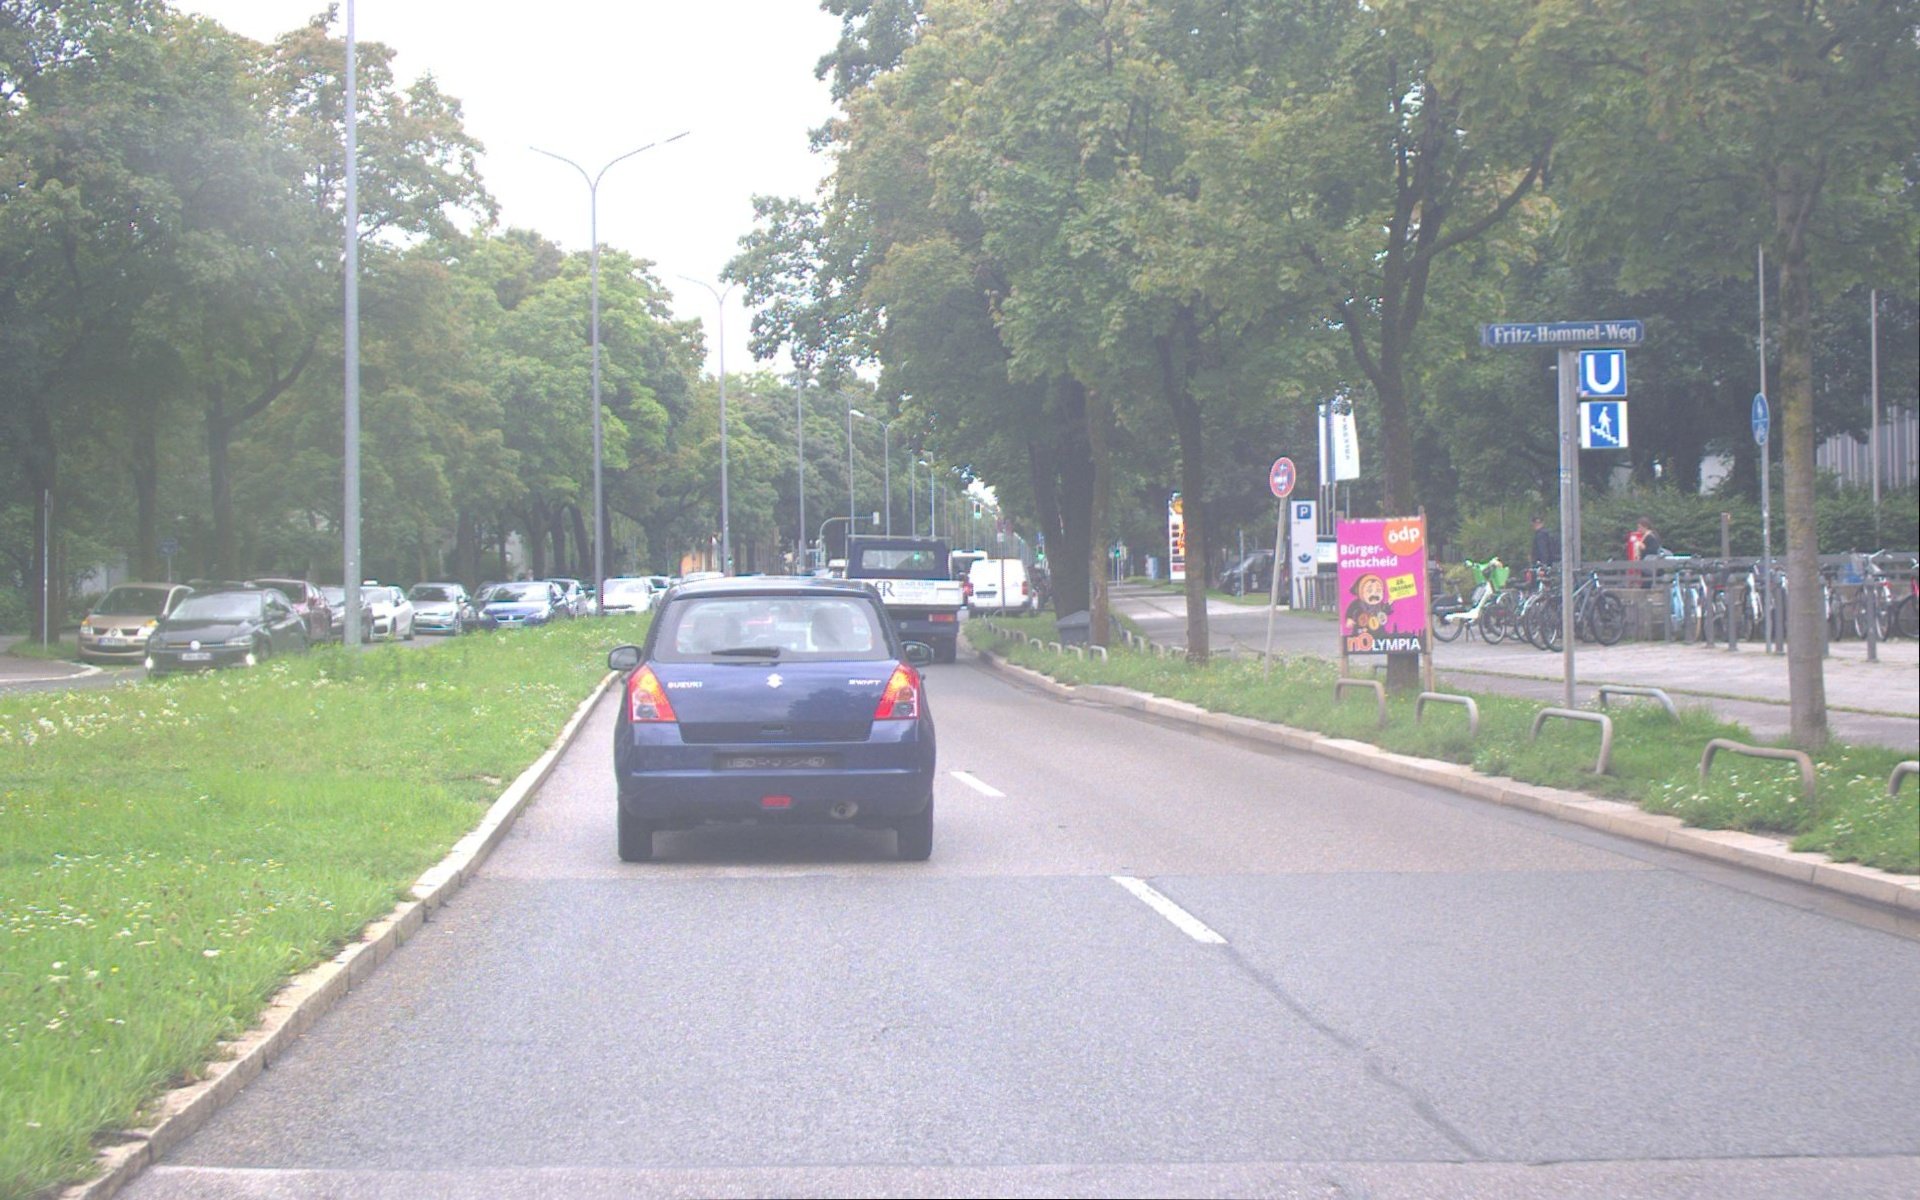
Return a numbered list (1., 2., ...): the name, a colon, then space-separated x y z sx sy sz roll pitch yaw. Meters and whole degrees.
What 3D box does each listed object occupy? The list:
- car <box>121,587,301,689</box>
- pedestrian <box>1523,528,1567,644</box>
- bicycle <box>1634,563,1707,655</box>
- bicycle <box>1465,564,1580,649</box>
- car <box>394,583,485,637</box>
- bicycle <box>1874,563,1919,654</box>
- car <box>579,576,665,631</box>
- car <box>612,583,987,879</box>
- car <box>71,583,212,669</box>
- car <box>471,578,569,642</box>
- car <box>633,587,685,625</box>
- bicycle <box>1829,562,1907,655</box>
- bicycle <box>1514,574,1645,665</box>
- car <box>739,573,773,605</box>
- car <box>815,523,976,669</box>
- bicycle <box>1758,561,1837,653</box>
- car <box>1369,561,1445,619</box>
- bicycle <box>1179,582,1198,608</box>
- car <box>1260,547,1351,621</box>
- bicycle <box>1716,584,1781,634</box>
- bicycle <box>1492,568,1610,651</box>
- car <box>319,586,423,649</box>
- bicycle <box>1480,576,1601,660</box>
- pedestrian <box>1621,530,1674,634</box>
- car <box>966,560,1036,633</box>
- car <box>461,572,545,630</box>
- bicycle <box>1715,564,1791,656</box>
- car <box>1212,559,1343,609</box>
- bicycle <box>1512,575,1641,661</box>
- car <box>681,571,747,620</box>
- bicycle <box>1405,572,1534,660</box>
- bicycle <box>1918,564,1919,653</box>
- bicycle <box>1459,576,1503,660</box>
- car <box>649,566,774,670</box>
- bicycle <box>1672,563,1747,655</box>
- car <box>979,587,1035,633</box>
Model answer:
1. car: -11.097 0.538 51.184 1.782 1.401 4.102 -1 0 0
2. pedestrian: 9.690 -0.240 56.937 0.651 1.893 0.749 -1 0 7
3. bicycle: 9.392 0.114 45.501 0.487 1.185 1.954 -1 0 -2
4. bicycle: 8.423 0.093 51.448 1.949 1.104 0.580 -6 4 -43
5. car: -14.897 0.271 98.537 1.736 1.443 4.822 2 0 1
6. bicycle: 12.653 0.107 45.077 0.445 1.185 2.142 -1 0 -9
7. car: -9.647 0.079 98.349 1.915 1.479 4.865 -1 0 1
8. car: -0.853 0.655 19.228 1.896 1.494 3.660 0 0 -1
9. car: -15.901 0.477 66.963 1.647 1.608 3.818 0 0 3
10. car: -10.136 0.208 79.360 1.691 1.397 3.967 -1 0 1
11. car: -13.085 0.247 149.578 1.757 1.589 4.489 1 0 1
12. bicycle: 11.960 0.102 45.328 0.445 1.185 1.954 -1 0 -2
13. bicycle: 8.369 0.255 46.381 2.027 1.095 0.580 -4 0 -44
14. car: -11.662 -0.626 196.357 1.796 1.757 5.058 -1 0 -2
15. car: -1.065 -0.080 60.197 2.419 2.436 5.086 0 0 3
16. bicycle: 11.099 0.088 45.600 0.487 1.185 1.954 -1 0 -2
17. car: 14.620 -0.344 112.653 1.842 1.812 4.472 -1 0 0
18. bicycle: 10.533 -0.232 158.625 0.748 1.179 2.246 -1 0 2
19. car: 11.231 -0.517 112.190 2.264 2.299 6.268 -1 0 0
20. bicycle: 14.565 0.156 63.537 0.682 0.851 1.835 -1 2 -3
21. bicycle: 8.652 0.132 50.297 1.949 1.079 0.597 -5 3 -43
22. car: -15.136 0.428 88.553 1.739 1.524 4.475 1 0 2
23. bicycle: 8.251 0.249 48.813 1.949 1.062 0.580 -5 1 -43
24. pedestrian: 11.456 -0.308 57.317 0.783 1.708 0.750 -1 0 8
25. car: 1.285 -0.125 105.256 1.987 2.150 5.555 -1 0 2
26. car: -12.386 0.009 93.297 1.691 1.479 3.967 -1 0 1
27. bicycle: 10.494 0.118 45.534 0.487 1.185 1.954 -1 0 -2
28. car: 13.687 -0.687 148.308 5.470 2.076 2.147 -1 0 1
29. bicycle: 8.595 0.249 47.871 2.035 1.085 0.604 -3 -1 -43
30. car: -8.478 -0.183 118.792 1.766 1.619 4.376 -1 0 2
31. bicycle: 7.737 0.234 52.167 1.948 1.185 0.597 -5 2 -32
32. bicycle: 13.220 0.110 44.898 0.511 1.185 2.142 -1 0 -9
33. bicycle: 8.308 0.274 54.853 0.530 1.222 1.861 -3 2 6
34. car: -3.827 0.257 52.595 1.799 1.494 3.661 -2 0 -5
35. bicycle: 9.912 0.106 45.530 0.487 1.185 1.954 -1 0 -2
36. car: 1.546 0.312 111.227 1.702 1.392 4.232 -1 0 2
